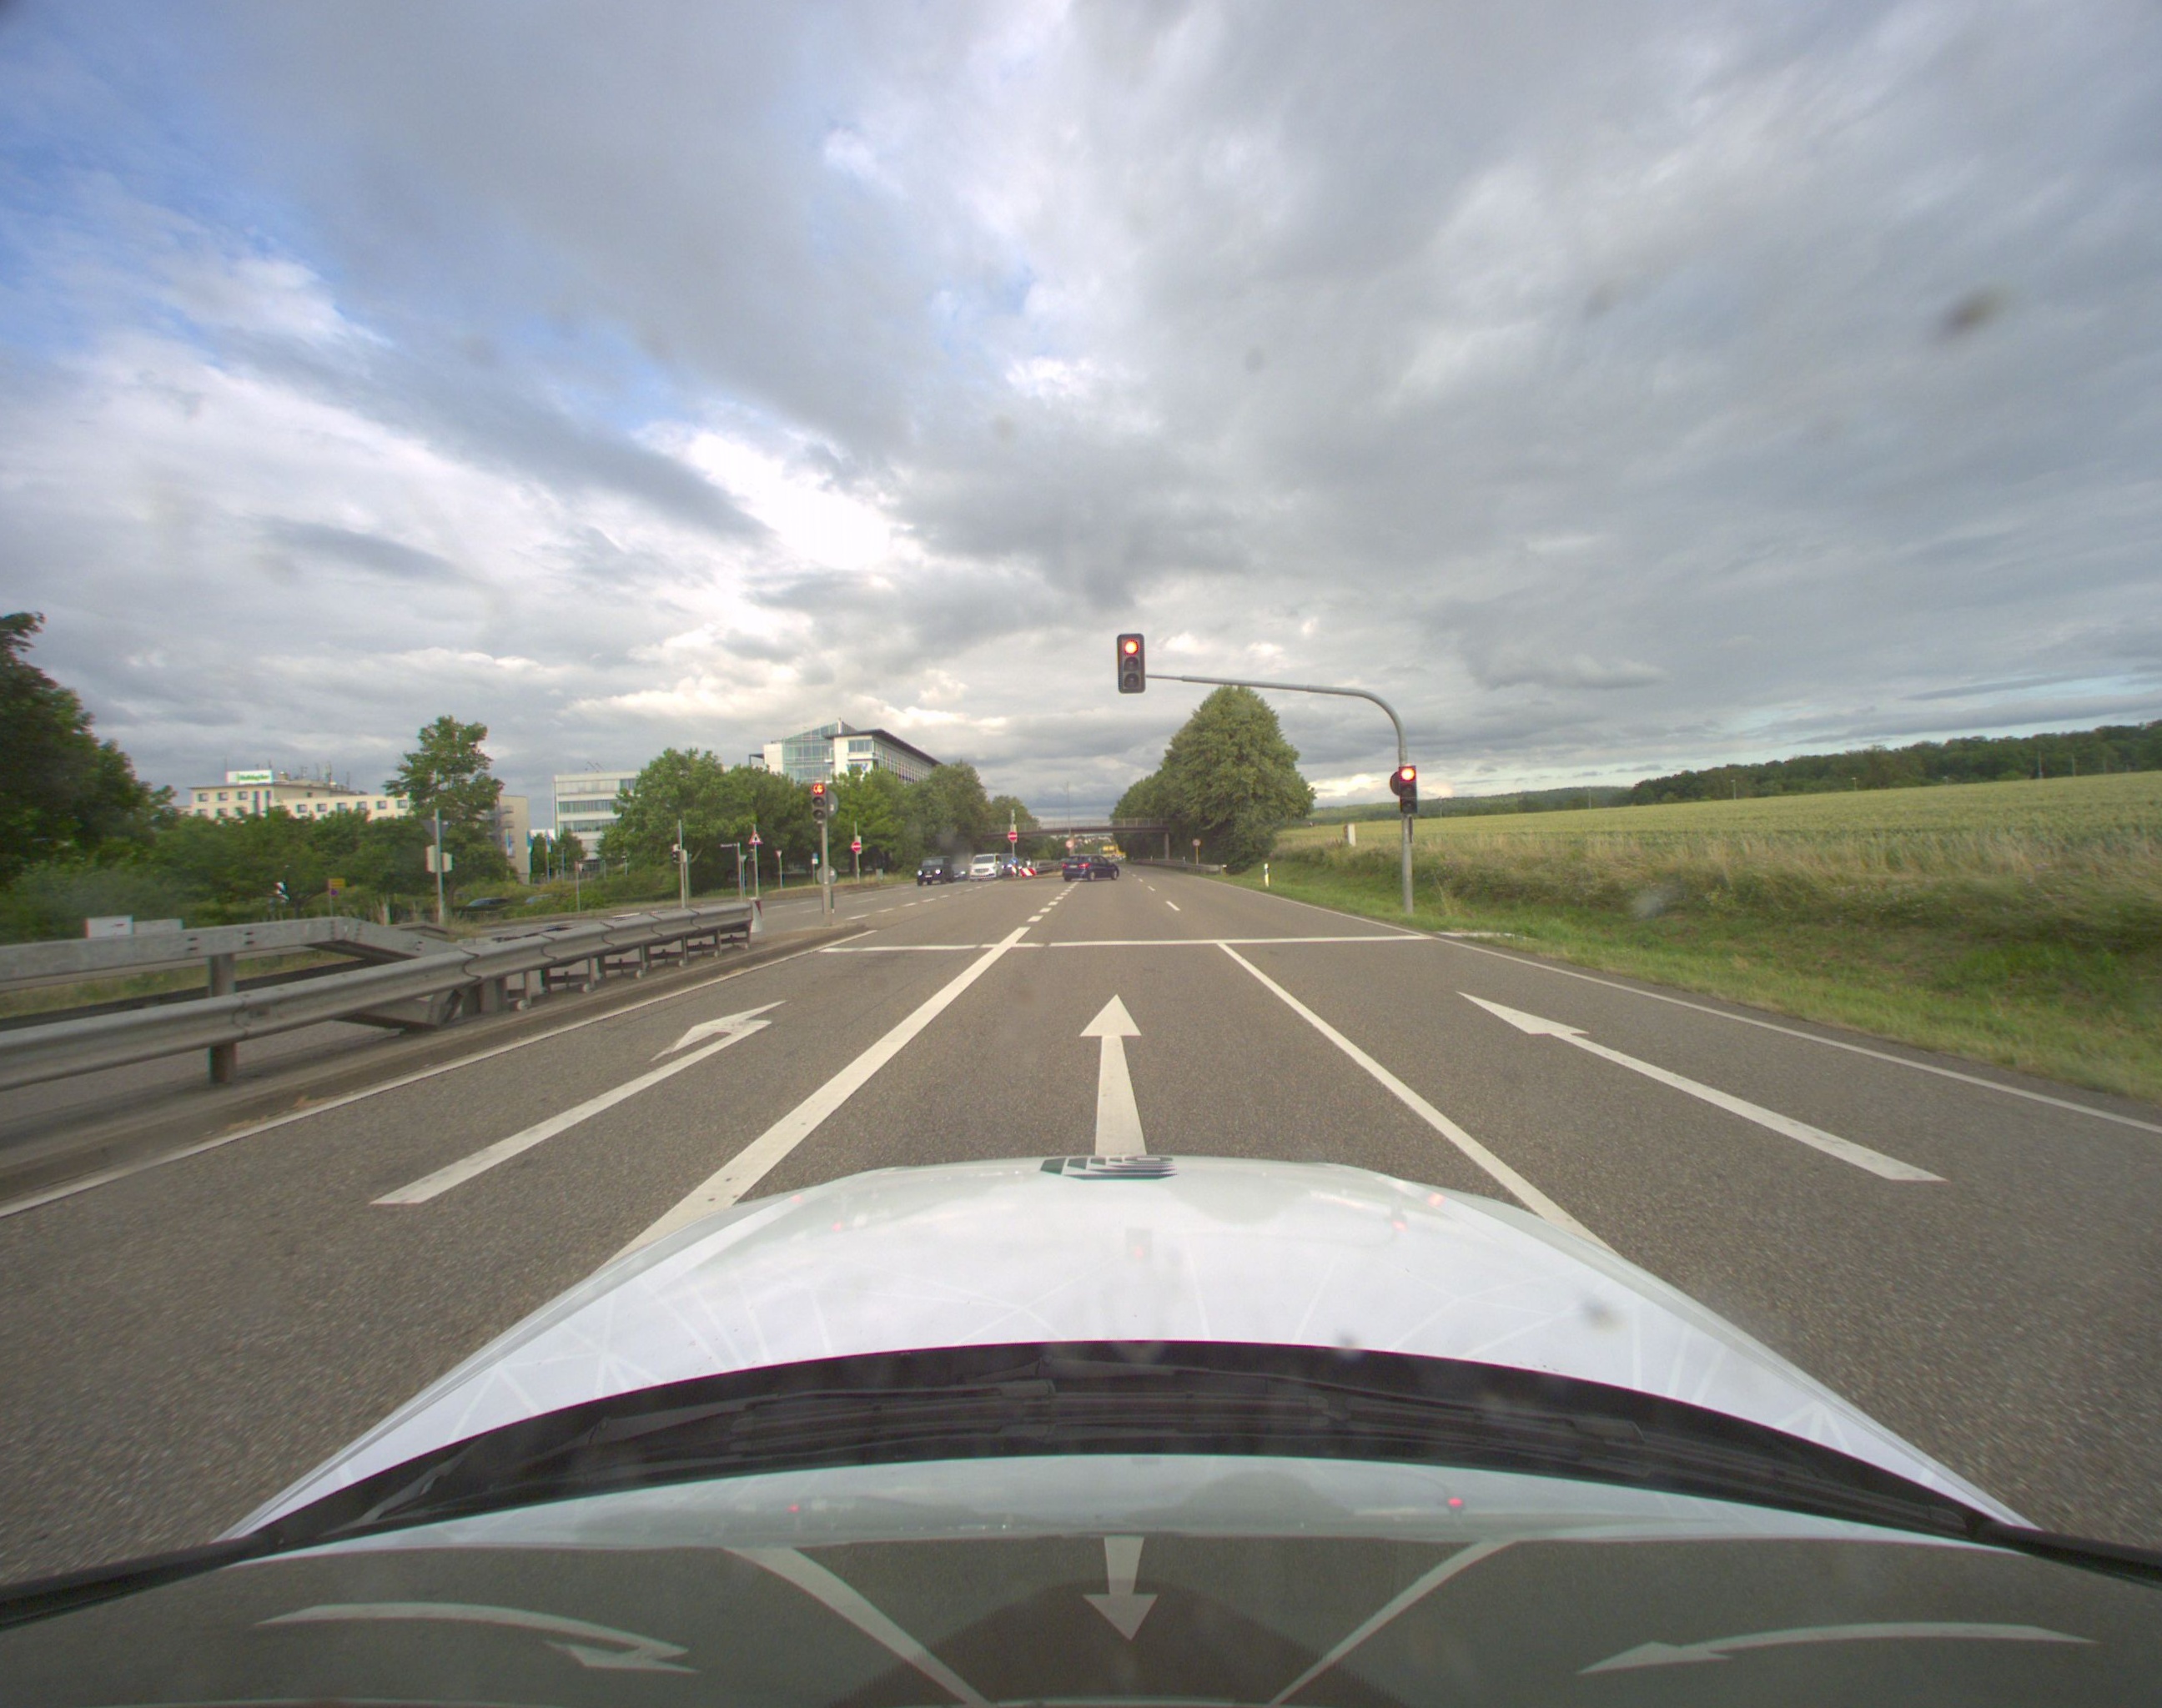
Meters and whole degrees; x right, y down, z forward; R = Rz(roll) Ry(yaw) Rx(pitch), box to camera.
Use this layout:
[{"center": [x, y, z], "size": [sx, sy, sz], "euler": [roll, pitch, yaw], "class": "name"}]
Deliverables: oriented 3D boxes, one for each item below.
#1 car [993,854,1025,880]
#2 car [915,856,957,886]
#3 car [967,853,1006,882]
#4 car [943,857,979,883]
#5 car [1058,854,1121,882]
[{"center": [-5.808, 1.035, 66.277], "size": [2.076, 2.014, 5.216], "euler": [0, -1, 1], "class": "car"}, {"center": [-10.356, 1.177, 58.538], "size": [2.076, 2.014, 5.216], "euler": [0, -1, 1], "class": "car"}, {"center": [-6.737, 0.938, 58.559], "size": [2.076, 2.014, 5.216], "euler": [0, -1, 1], "class": "car"}, {"center": [-9.648, 1.232, 66.026], "size": [2.076, 2.014, 5.216], "euler": [0, -1, 1], "class": "car"}, {"center": [0.544, 0.808, 47.314], "size": [1.862, 1.552, 4.025], "euler": [-1, -1, 30], "class": "car"}]
